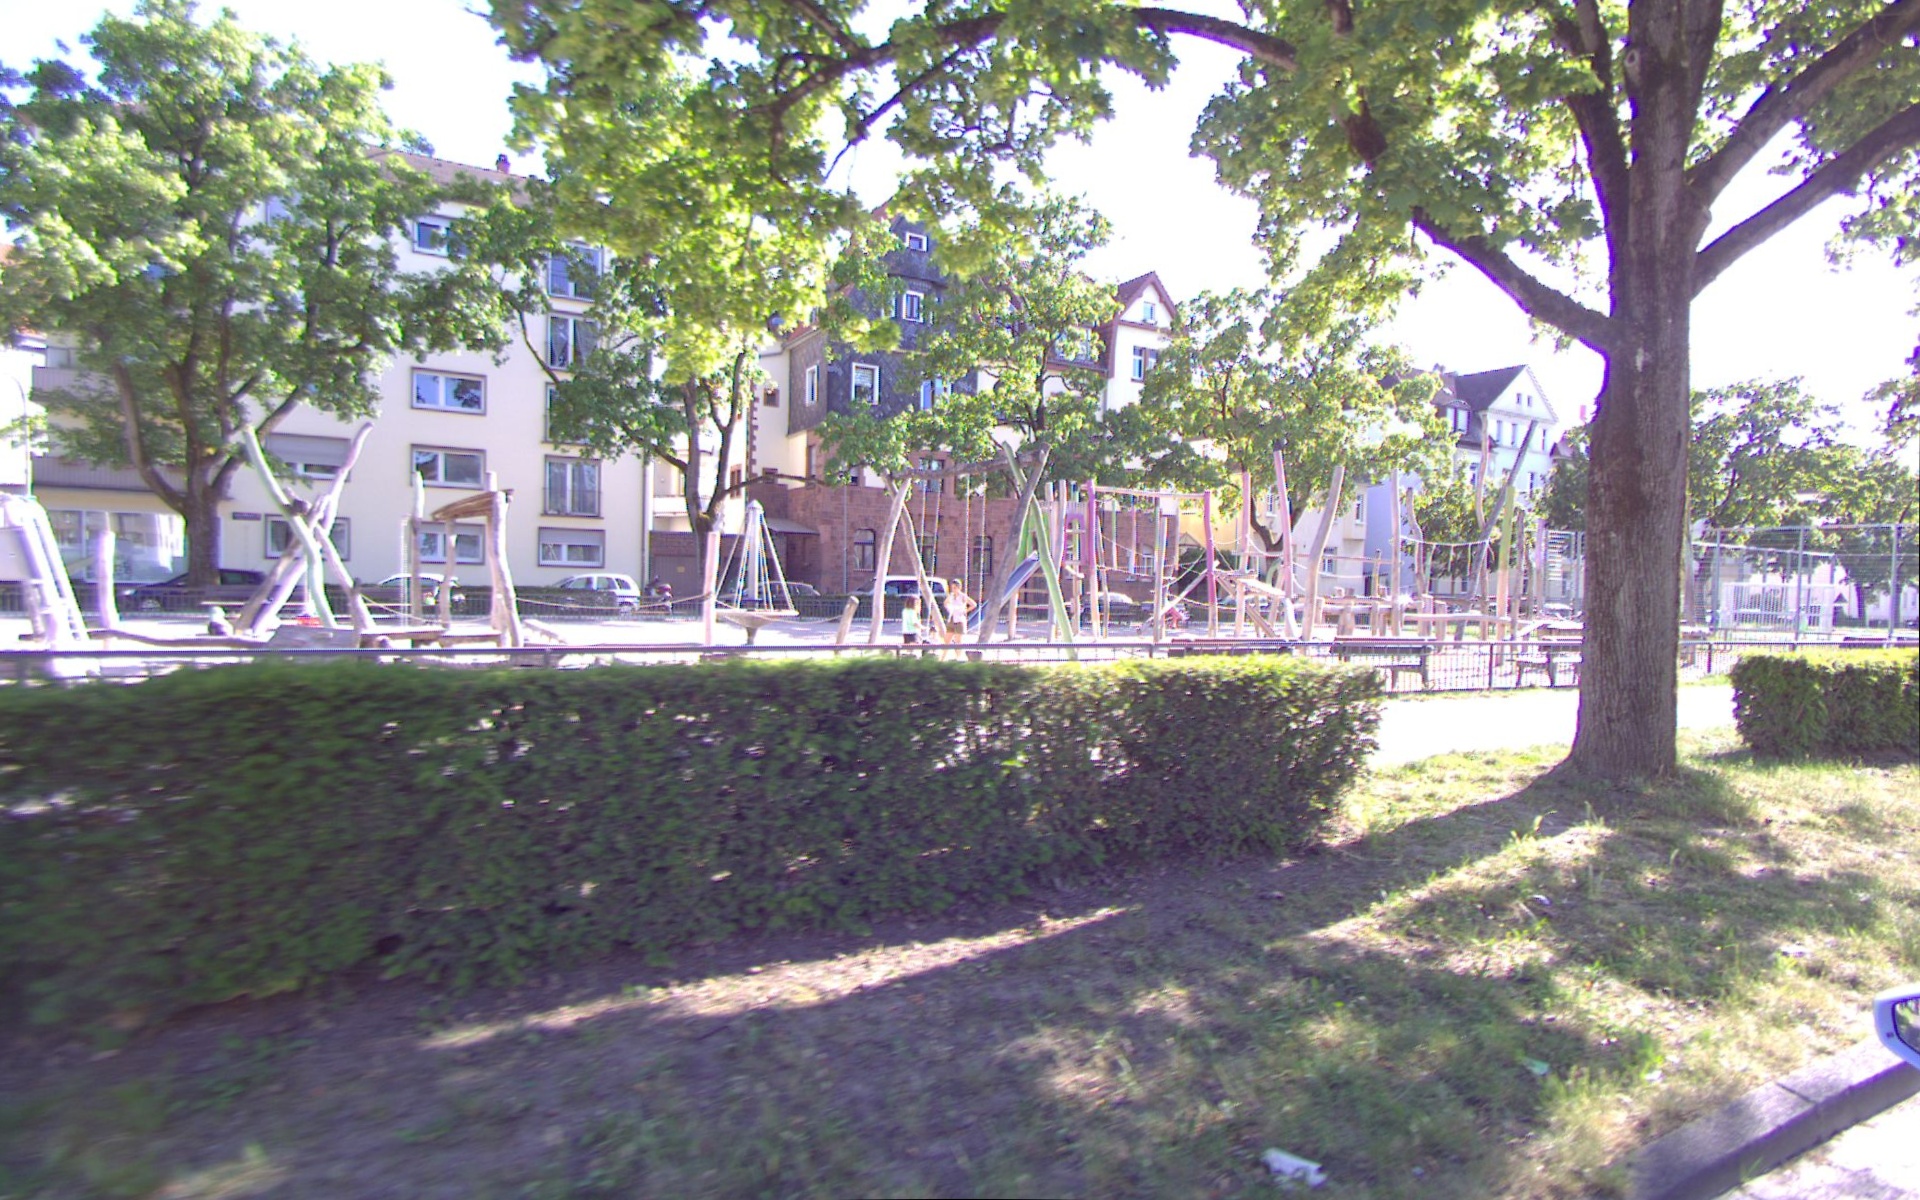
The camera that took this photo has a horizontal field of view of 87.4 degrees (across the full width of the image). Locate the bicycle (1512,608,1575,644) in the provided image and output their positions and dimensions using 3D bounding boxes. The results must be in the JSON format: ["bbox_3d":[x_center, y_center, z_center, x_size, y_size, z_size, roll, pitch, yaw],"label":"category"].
[{"bbox_3d":[19.465,0.849,33.536,0.494,1.122,1.785,0,2,-30],"label":"bicycle"}]

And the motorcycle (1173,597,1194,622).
[{"bbox_3d":[7.677,0.314,34.560,0.281,0.838,0.698,0,2,-31],"label":"motorcycle"}]

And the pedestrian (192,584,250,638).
[{"bbox_3d":[-13.883,0.207,18.884,0.766,0.992,0.540,1,2,-22],"label":"pedestrian"}]

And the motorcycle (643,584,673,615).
[{"bbox_3d":[-11.381,-0.023,37.883,0.495,1.122,1.781,1,1,-36],"label":"motorcycle"}]

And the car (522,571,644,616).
[{"bbox_3d":[-13.717,-0.247,36.574,3.952,1.531,1.786,1,2,-30],"label":"car"}]

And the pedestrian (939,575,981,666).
[{"bbox_3d":[-0.009,0.380,18.947,0.639,1.684,0.649,1,2,-11],"label":"pedestrian"}]

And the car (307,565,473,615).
[{"bbox_3d":[-18.964,-0.319,33.574,4.709,1.531,1.896,1,2,-31],"label":"car"}]

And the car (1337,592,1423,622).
[{"bbox_3d":[24.590,0.413,58.811,5.120,1.674,1.873,1,2,-30],"label":"car"}]

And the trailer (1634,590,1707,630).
[{"bbox_3d":[54.248,0.747,76.689,5.734,2.909,2.331,1,2,-31],"label":"trailer"}]

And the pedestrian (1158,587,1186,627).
[{"bbox_3d":[7.229,0.248,34.283,0.643,1.336,0.644,0,2,-32],"label":"pedestrian"}]

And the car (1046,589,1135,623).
[{"bbox_3d":[6.325,0.301,48.641,3.952,1.531,1.786,1,2,-30],"label":"car"}]

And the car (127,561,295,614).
[{"bbox_3d":[-23.011,-0.371,31.060,3.952,1.531,1.786,1,2,-30],"label":"car"}]

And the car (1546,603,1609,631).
[{"bbox_3d":[42.877,1.164,69.769,4.434,1.801,1.786,1,2,-30],"label":"car"}]

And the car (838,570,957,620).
[{"bbox_3d":[-2.642,-0.203,42.811,4.777,2.009,1.786,1,2,-30],"label":"car"}]

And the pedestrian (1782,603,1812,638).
[{"bbox_3d":[33.506,0.813,40.214,0.637,1.336,0.650,1,2,0],"label":"pedestrian"}]

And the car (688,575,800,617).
[{"bbox_3d":[-8.465,-0.158,39.424,3.952,1.531,1.786,1,2,-30],"label":"car"}]

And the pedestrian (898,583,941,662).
[{"bbox_3d":[-0.715,0.382,17.571,0.639,1.347,0.649,1,2,-11],"label":"pedestrian"}]

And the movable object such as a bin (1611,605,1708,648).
[{"bbox_3d":[22.166,0.805,31.882,1.045,1.258,2.317,0,1,-33],"label":"movable object such as a bin"}]
